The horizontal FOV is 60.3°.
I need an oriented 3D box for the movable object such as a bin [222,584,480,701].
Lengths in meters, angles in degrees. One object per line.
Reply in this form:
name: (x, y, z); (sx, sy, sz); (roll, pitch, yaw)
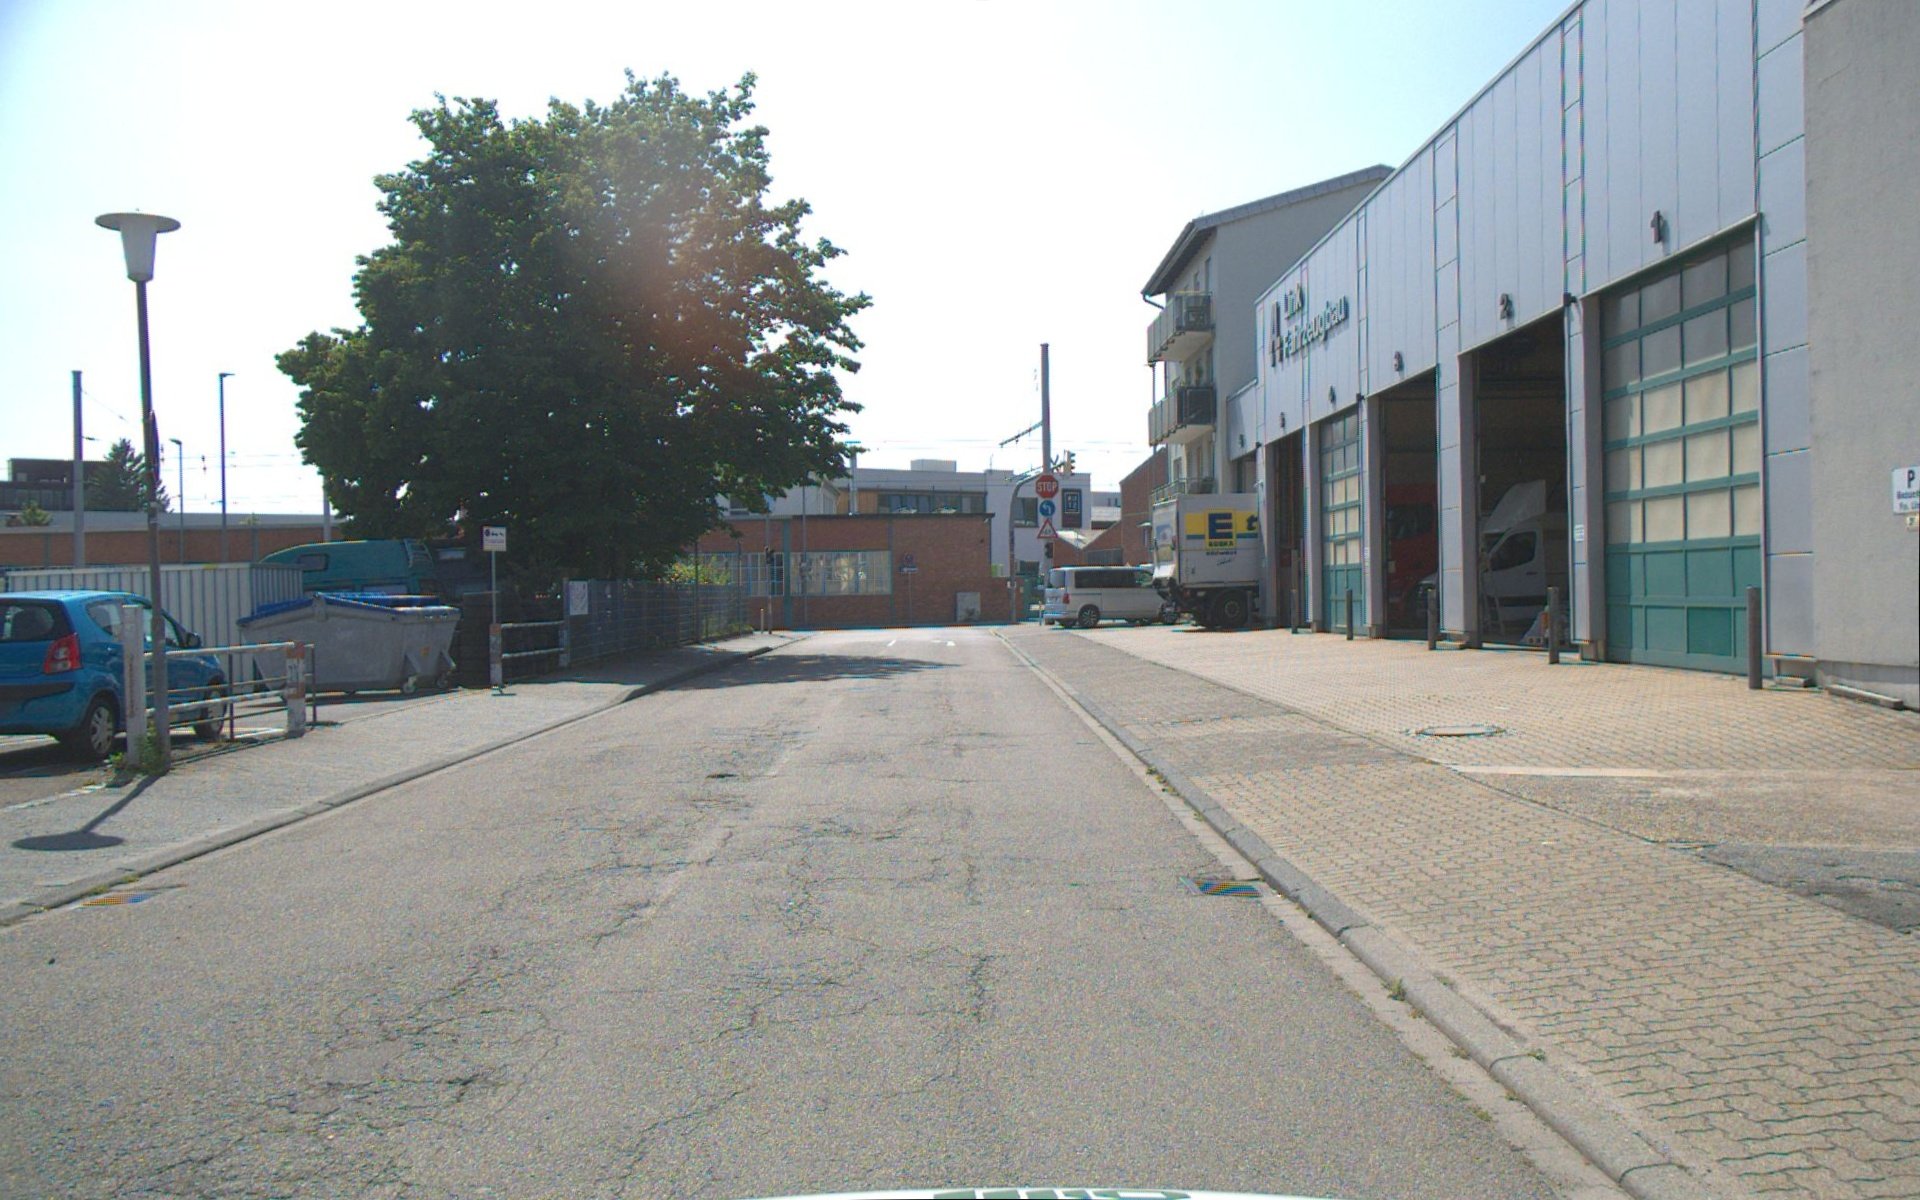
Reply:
movable object such as a bin: (-8.802, 0.577, 24.164); (2.571, 1.536, 2.730); (-2, 0, 5)

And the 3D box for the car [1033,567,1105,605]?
car: (6.598, -0.852, 100.047); (3.950, 2.228, 1.977); (-1, 0, -33)

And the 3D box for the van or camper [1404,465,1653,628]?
van or camper: (12.229, -1.143, 35.757); (4.662, 3.346, 1.998); (-1, 0, -4)

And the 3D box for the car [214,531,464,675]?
car: (-11.668, 0.043, 31.270); (4.003, 2.557, 1.776); (-1, 0, -3)

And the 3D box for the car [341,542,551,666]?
car: (-11.153, 0.083, 36.101); (4.003, 2.557, 1.776); (-1, 0, -3)

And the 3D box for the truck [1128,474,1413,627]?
truck: (8.680, -1.384, 46.615); (7.220, 3.708, 2.764); (-4, 1, -7)

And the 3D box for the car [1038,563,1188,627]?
car: (5.076, -0.166, 54.969); (4.585, 1.992, 1.905); (-1, 0, -20)

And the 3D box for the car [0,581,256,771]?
car: (-8.288, 0.642, 15.591); (1.778, 1.557, 3.674); (-2, 0, -2)

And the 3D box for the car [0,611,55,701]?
car: (-18.150, 1.019, 28.545); (4.056, 1.480, 1.754); (-2, 0, 3)
